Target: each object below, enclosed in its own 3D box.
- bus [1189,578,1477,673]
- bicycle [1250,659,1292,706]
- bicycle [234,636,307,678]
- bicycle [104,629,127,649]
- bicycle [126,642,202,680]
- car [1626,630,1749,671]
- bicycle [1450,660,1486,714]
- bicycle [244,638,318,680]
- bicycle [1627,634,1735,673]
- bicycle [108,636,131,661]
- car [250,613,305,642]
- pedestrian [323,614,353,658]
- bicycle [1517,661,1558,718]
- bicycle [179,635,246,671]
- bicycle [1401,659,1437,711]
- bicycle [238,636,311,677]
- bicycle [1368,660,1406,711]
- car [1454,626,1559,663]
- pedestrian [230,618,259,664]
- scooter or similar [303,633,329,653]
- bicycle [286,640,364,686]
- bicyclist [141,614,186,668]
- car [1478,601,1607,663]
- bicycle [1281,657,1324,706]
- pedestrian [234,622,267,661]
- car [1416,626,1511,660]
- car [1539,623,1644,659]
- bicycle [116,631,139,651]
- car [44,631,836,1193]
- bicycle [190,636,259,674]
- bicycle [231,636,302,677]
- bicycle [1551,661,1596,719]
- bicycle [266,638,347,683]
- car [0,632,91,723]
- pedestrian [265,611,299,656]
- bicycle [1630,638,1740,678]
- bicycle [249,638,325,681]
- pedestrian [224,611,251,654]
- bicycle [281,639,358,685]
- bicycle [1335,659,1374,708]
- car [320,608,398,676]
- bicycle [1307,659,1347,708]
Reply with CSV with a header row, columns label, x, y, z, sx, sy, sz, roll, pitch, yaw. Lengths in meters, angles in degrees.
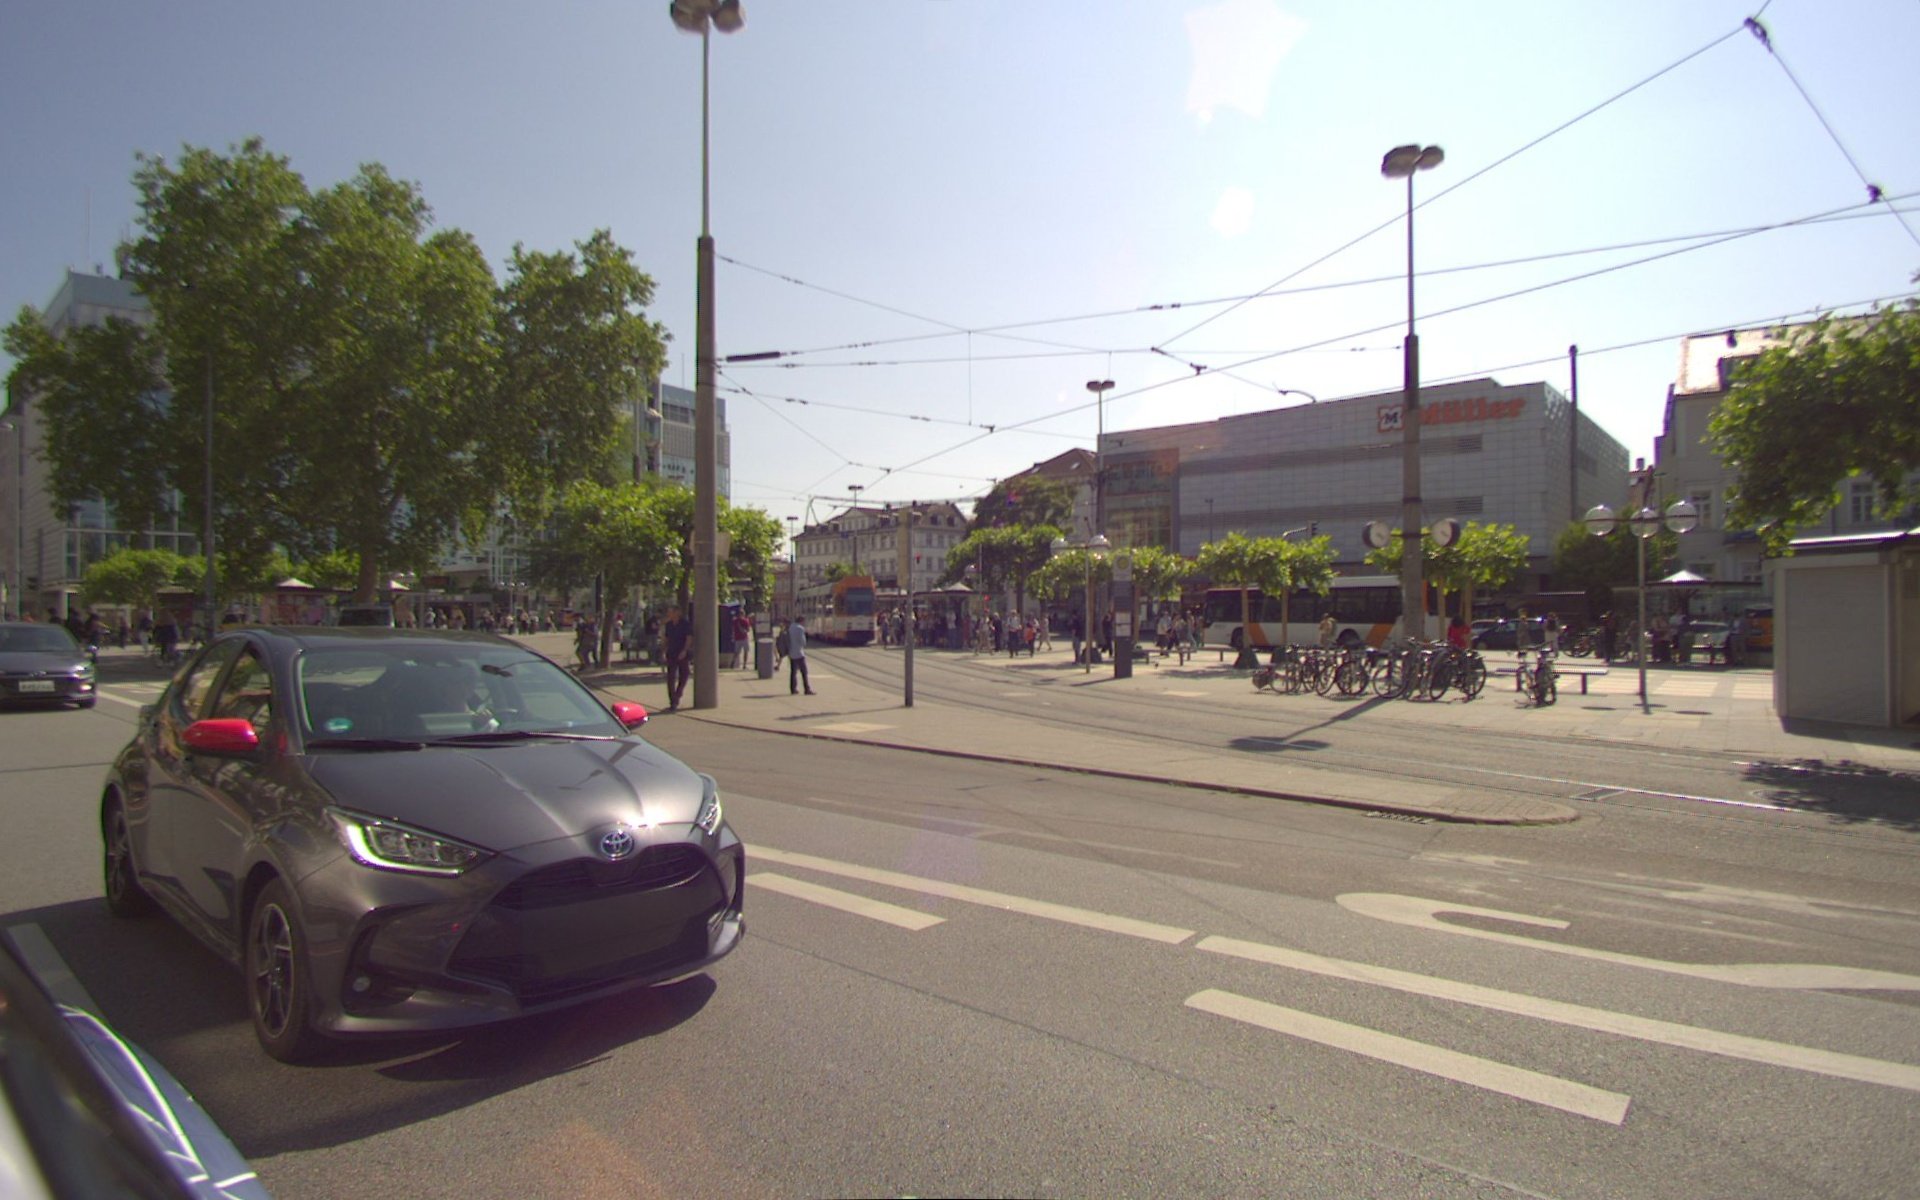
label,x,y,z,sx,sy,sz,roll,pitch,yaw
bus,15.355,0.969,43.450,3.014,3.445,12.498,-2,0,-30
bicycle,6.883,1.801,22.352,0.544,0.862,1.853,-1,0,28
bicycle,-20.619,1.689,30.292,0.482,1.156,1.735,-1,-1,39
bicycle,-50.186,2.326,60.120,1.753,1.156,0.586,-1,-1,34
bicycle,-23.017,1.743,29.245,2.616,1.030,0.823,-1,0,31
car,29.578,2.008,41.276,3.991,1.519,1.740,-1,0,35
bicycle,9.948,1.671,19.803,0.579,0.876,1.853,-1,0,28
bicycle,-19.766,1.702,29.479,0.482,1.156,1.735,-1,-1,39
bicycle,26.550,1.960,37.348,3.139,1.389,0.813,-1,0,28
bicycle,-42.510,2.436,51.179,0.718,1.152,1.917,-2,0,-35
car,-50.192,2.043,74.432,3.990,2.029,1.977,-1,0,34
pedestrian,-25.698,1.484,41.806,0.780,1.760,0.744,-1,0,31
bicycle,10.824,1.653,18.992,0.579,0.876,1.853,-1,0,28
bicycle,-24.791,1.744,33.575,0.482,1.156,1.735,-1,-1,39
bicycle,9.215,1.686,20.287,0.544,0.862,1.853,-1,0,28
bicycle,-20.214,1.649,29.868,0.482,1.156,1.735,-1,-1,39
bicycle,8.710,1.717,20.623,0.544,0.862,1.853,-1,0,28
car,24.868,1.993,46.091,3.991,1.519,1.740,-1,0,35
pedestrian,-27.989,1.603,39.623,0.739,1.760,0.785,-1,0,-23
scooter or similar,-23.132,1.532,36.358,0.570,0.652,0.788,-1,0,-16
bicycle,-17.253,1.694,27.543,0.482,1.156,1.735,-1,-1,39
bicyclist,-23.052,1.167,29.290,1.161,1.509,0.820,-1,0,43
car,29.050,1.567,50.532,5.387,2.909,1.936,-1,0,35
bicycle,7.441,1.744,21.944,0.580,0.878,1.853,-1,0,28
pedestrian,-26.580,1.559,37.897,0.780,1.418,0.744,-1,0,31
car,24.799,2.099,49.900,3.991,1.519,1.740,-1,0,35
car,29.126,1.865,46.709,3.991,1.519,1.740,-1,0,35
bicycle,-49.865,2.428,60.640,1.753,1.156,0.586,-1,-1,34
car,-2.613,0.906,4.687,3.995,1.486,1.760,-1,-3,38
bicycle,-23.676,1.764,32.584,0.482,1.156,1.735,-1,-1,39
bicycle,-21.106,1.699,30.827,0.482,1.156,1.735,-1,-1,39
bicycle,11.347,1.641,18.743,0.579,0.876,1.853,-1,0,28
bicycle,-18.307,1.678,28.376,0.482,1.156,1.842,-1,-1,39
car,-16.486,1.268,17.493,3.999,1.415,1.677,-1,-4,42
pedestrian,-24.946,1.230,37.243,0.780,1.608,0.744,-1,0,31
bicycle,26.171,2.073,36.607,3.141,1.389,0.813,-1,0,30
bicycle,-19.234,1.688,28.960,0.482,1.156,1.735,-1,-1,39
pedestrian,-30.533,1.359,42.759,0.782,1.760,0.742,-1,0,39
bicycle,-17.564,1.683,27.785,0.482,1.156,1.735,-1,-1,39
bicycle,8.302,1.735,21.265,0.544,0.862,1.853,-1,0,28
car,-20.004,1.329,33.857,1.966,2.029,5.083,-2,0,-28
bicycle,7.836,1.763,21.544,0.544,0.862,1.853,-1,0,28
